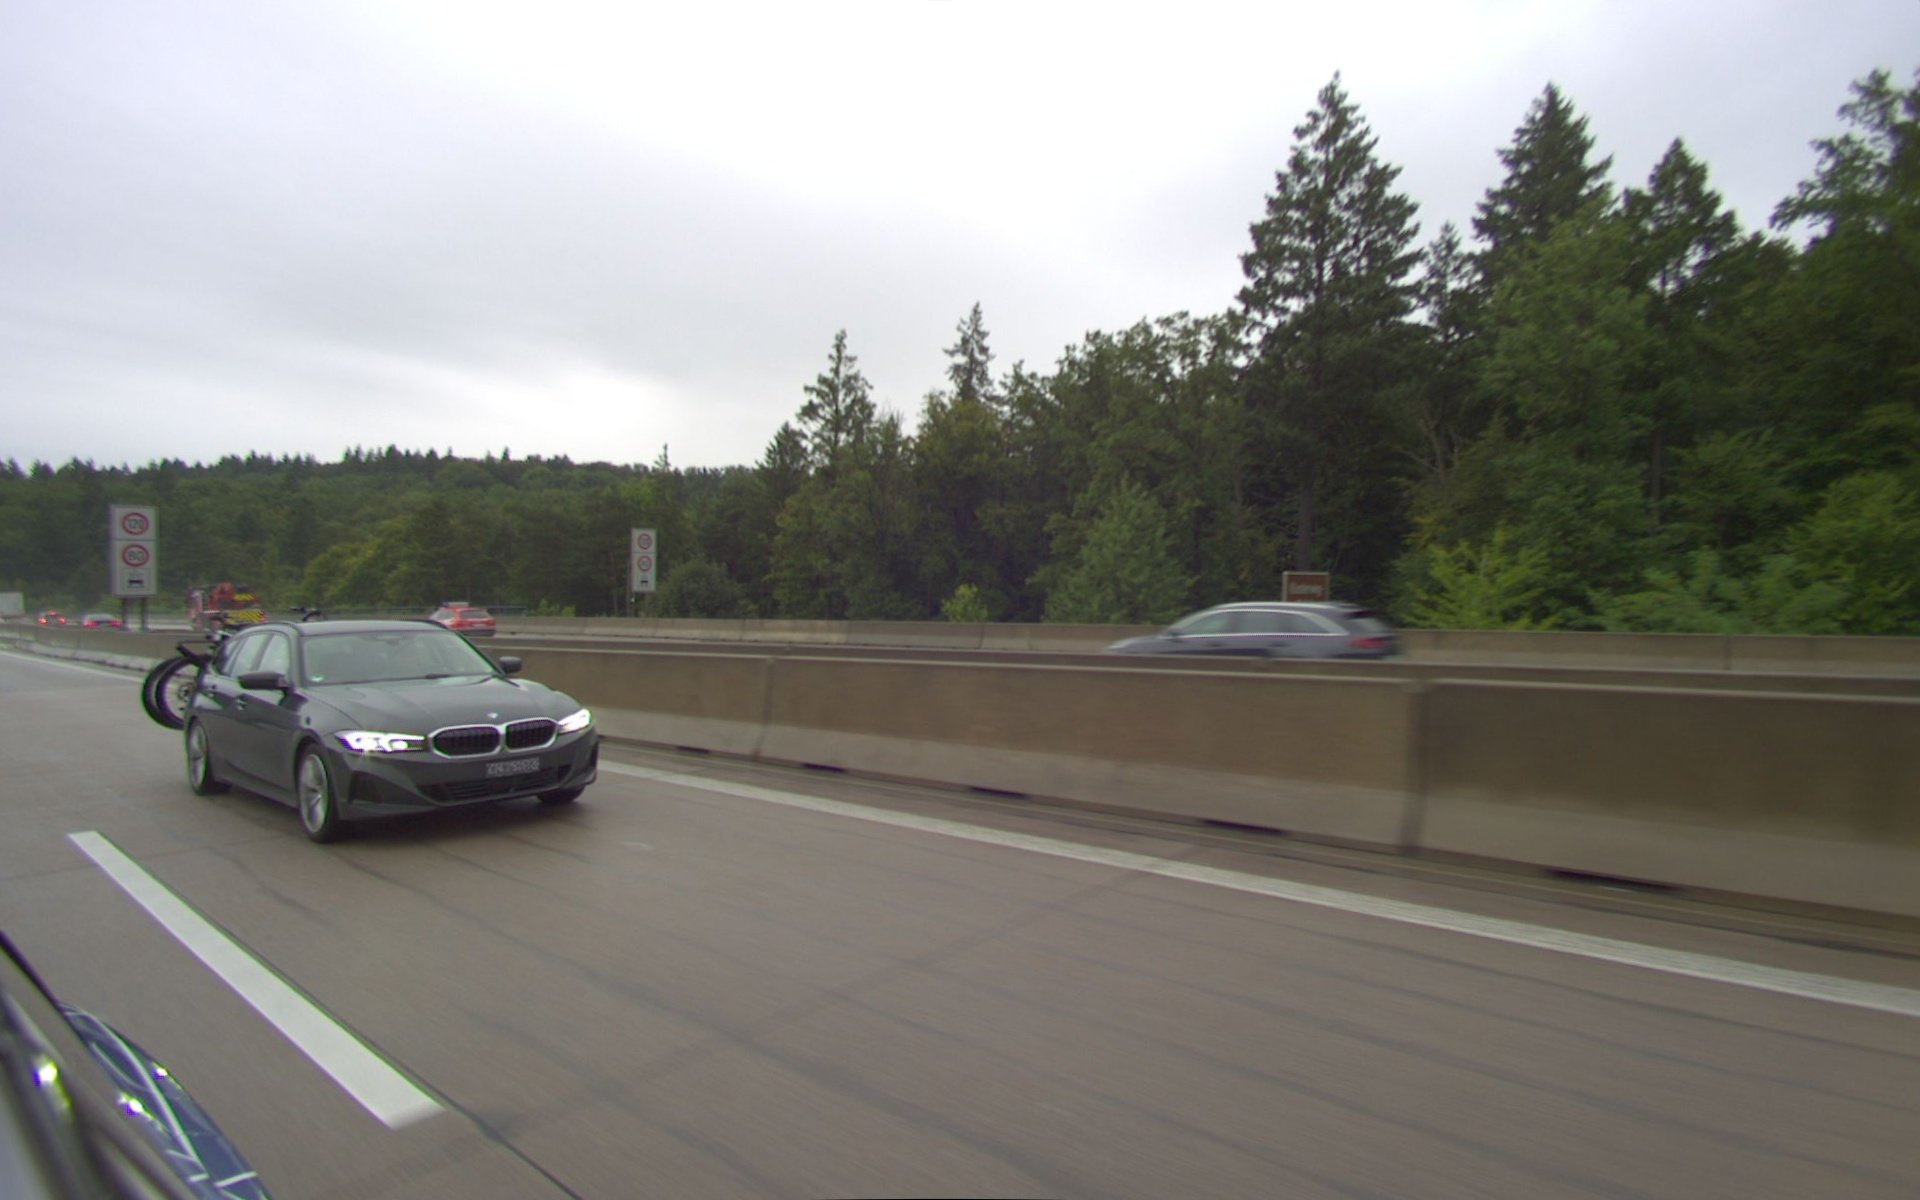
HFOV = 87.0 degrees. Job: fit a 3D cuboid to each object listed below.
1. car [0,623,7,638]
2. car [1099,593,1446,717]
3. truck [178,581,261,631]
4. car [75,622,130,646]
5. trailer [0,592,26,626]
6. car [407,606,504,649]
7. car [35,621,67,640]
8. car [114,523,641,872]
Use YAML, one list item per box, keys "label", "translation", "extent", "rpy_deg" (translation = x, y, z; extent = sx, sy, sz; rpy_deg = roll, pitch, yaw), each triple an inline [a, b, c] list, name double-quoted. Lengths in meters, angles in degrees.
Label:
- label: "car"
  translation: [-106.454, 3.375, 111.643]
  extent: [3.636, 1.532, 1.640]
  rpy_deg: [-1, 0, 41]
- label: "car"
  translation: [4.447, 0.729, 14.925]
  extent: [4.640, 1.565, 1.591]
  rpy_deg: [-1, -1, 41]
- label: "truck"
  translation: [-50.690, 0.447, 69.135]
  extent: [10.658, 3.198, 2.406]
  rpy_deg: [-1, 0, 42]
- label: "car"
  translation: [-53.275, 2.095, 62.864]
  extent: [4.750, 1.401, 1.972]
  rpy_deg: [-1, 0, 42]
- label: "trailer"
  translation: [-119.443, 1.190, 125.978]
  extent: [13.777, 4.063, 2.917]
  rpy_deg: [-1, 0, 40]
- label: "car"
  translation: [-21.436, 1.146, 42.931]
  extent: [4.972, 1.712, 1.973]
  rpy_deg: [-1, -1, 41]
- label: "car"
  translation: [-81.708, 2.718, 90.934]
  extent: [4.266, 1.590, 1.687]
  rpy_deg: [-1, 0, 42]
- label: "car"
  translation: [-5.194, 0.598, 8.435]
  extent: [6.158, 1.959, 1.888]
  rpy_deg: [-1, -1, 41]
